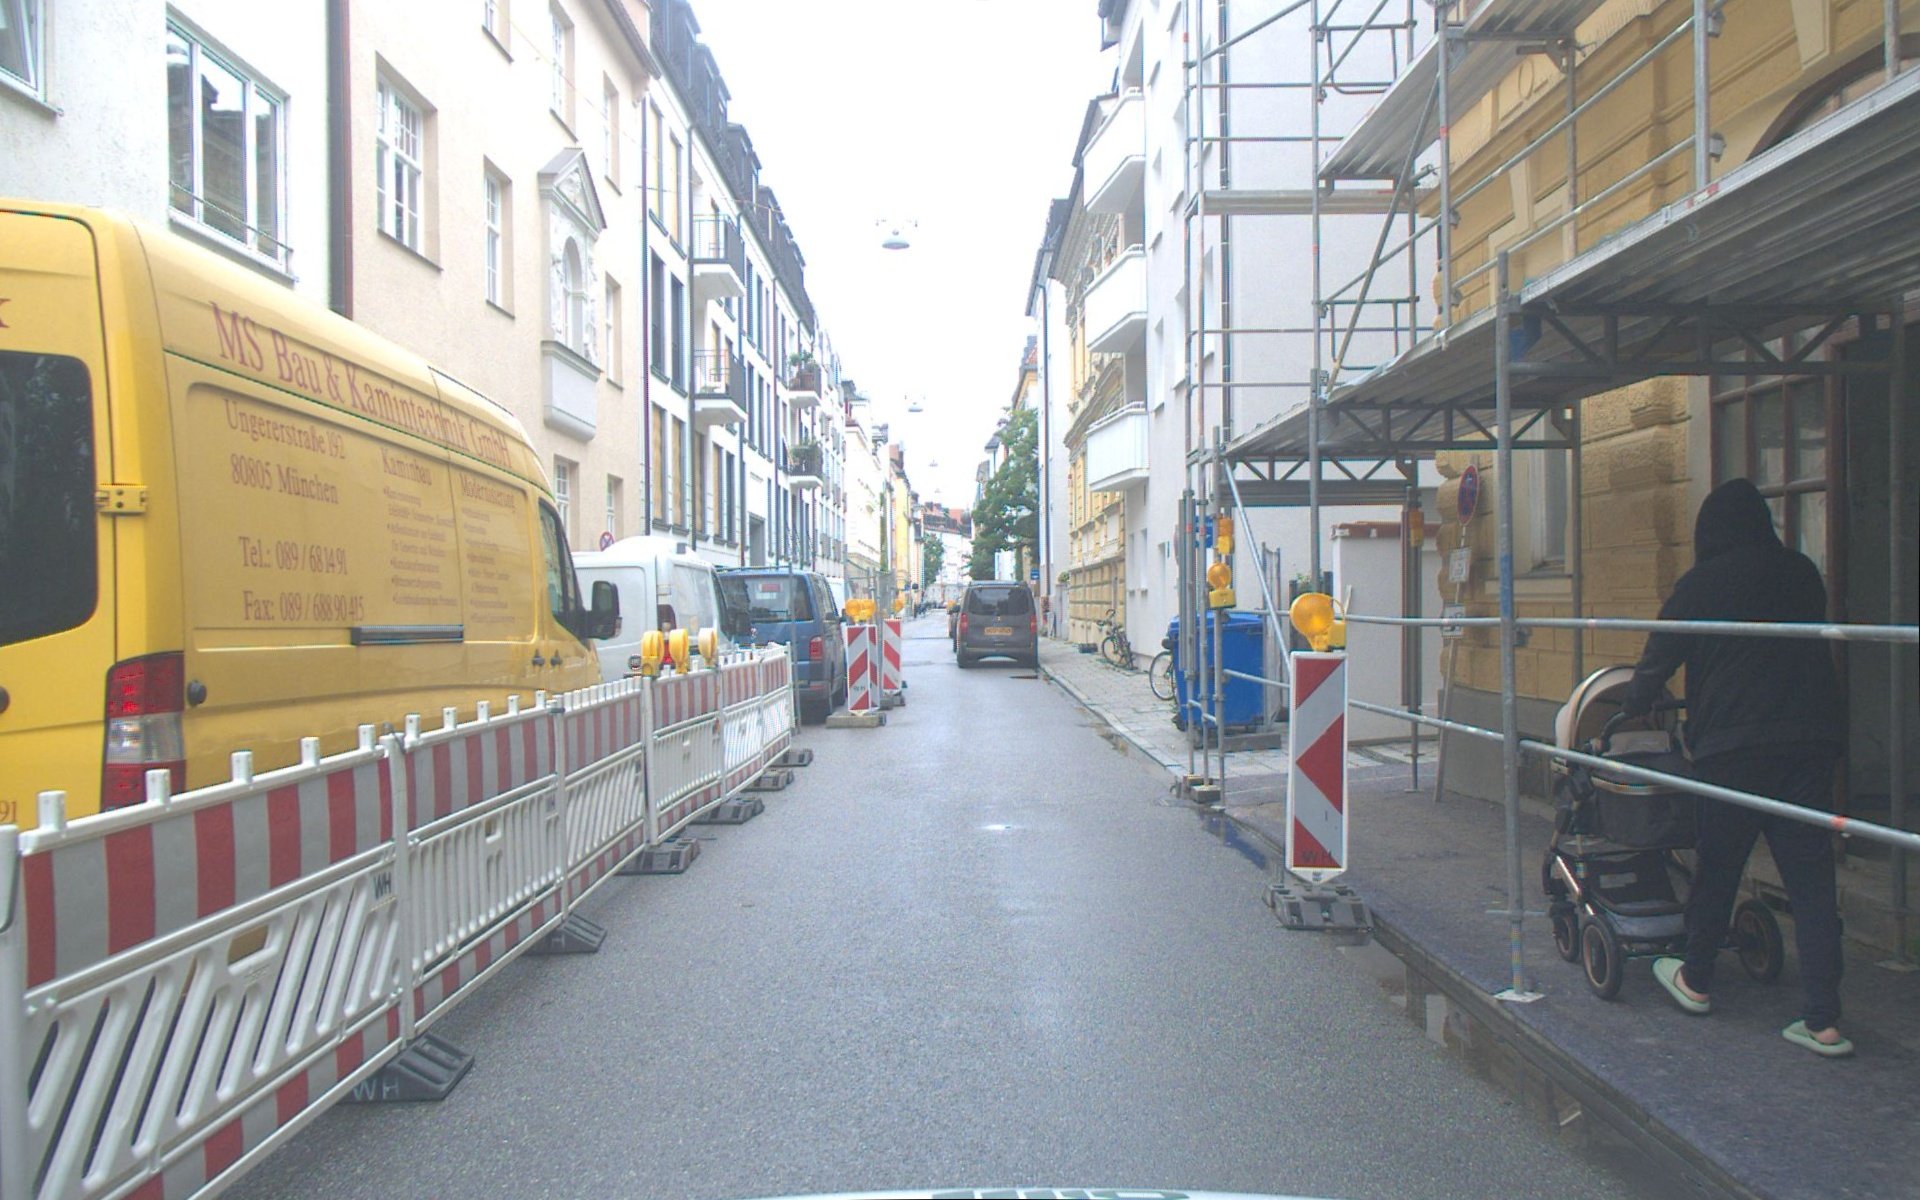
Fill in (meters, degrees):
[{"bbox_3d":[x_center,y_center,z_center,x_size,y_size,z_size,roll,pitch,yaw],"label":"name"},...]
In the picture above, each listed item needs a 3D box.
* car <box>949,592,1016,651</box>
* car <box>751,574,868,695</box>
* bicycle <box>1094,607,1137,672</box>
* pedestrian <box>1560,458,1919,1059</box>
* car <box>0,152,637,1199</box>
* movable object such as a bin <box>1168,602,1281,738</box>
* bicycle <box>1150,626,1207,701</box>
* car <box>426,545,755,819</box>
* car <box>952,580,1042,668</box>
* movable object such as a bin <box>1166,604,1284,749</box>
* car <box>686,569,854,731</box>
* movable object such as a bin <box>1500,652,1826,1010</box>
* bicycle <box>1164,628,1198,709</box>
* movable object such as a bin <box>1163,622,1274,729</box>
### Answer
[{"bbox_3d":[0.645,0.618,49.582,1.855,1.670,4.321,-1,0,-1],"label":"car"},{"bbox_3d":[-2.587,0.578,29.290,1.867,1.930,5.085,-1,0,-4],"label":"car"},{"bbox_3d":[3.065,0.760,32.688,0.625,1.173,1.915,-3,1,0],"label":"bicycle"},{"bbox_3d":[2.621,0.484,5.551,0.715,1.783,0.988,-4,0,-1],"label":"pedestrian"},{"bbox_3d":[-3.077,0.212,7.500,1.953,2.624,6.735,-1,0,-1],"label":"car"},{"bbox_3d":[2.924,0.759,18.411,1.102,1.369,1.172,-4,0,8],"label":"movable object such as a bin"},{"bbox_3d":[3.119,0.895,23.688,0.396,1.009,1.326,-4,0,-9],"label":"bicycle"},{"bbox_3d":[-3.017,0.614,14.592,1.878,1.930,4.789,-2,0,-2],"label":"car"},{"bbox_3d":[0.819,0.545,39.470,1.953,1.966,4.659,1,0,-1],"label":"car"},{"bbox_3d":[2.774,0.775,17.172,1.063,1.369,1.318,-4,0,12],"label":"movable object such as a bin"},{"bbox_3d":[-2.527,0.634,23.189,1.692,1.930,5.508,-2,0,0],"label":"car"},{"bbox_3d":[2.629,0.825,6.297,0.715,1.160,0.988,-5,0,-1],"label":"movable object such as a bin"},{"bbox_3d":[2.992,0.911,22.346,0.275,1.009,1.435,-4,0,12],"label":"bicycle"},{"bbox_3d":[3.015,0.873,19.362,1.185,1.114,0.790,-4,0,7],"label":"movable object such as a bin"}]
